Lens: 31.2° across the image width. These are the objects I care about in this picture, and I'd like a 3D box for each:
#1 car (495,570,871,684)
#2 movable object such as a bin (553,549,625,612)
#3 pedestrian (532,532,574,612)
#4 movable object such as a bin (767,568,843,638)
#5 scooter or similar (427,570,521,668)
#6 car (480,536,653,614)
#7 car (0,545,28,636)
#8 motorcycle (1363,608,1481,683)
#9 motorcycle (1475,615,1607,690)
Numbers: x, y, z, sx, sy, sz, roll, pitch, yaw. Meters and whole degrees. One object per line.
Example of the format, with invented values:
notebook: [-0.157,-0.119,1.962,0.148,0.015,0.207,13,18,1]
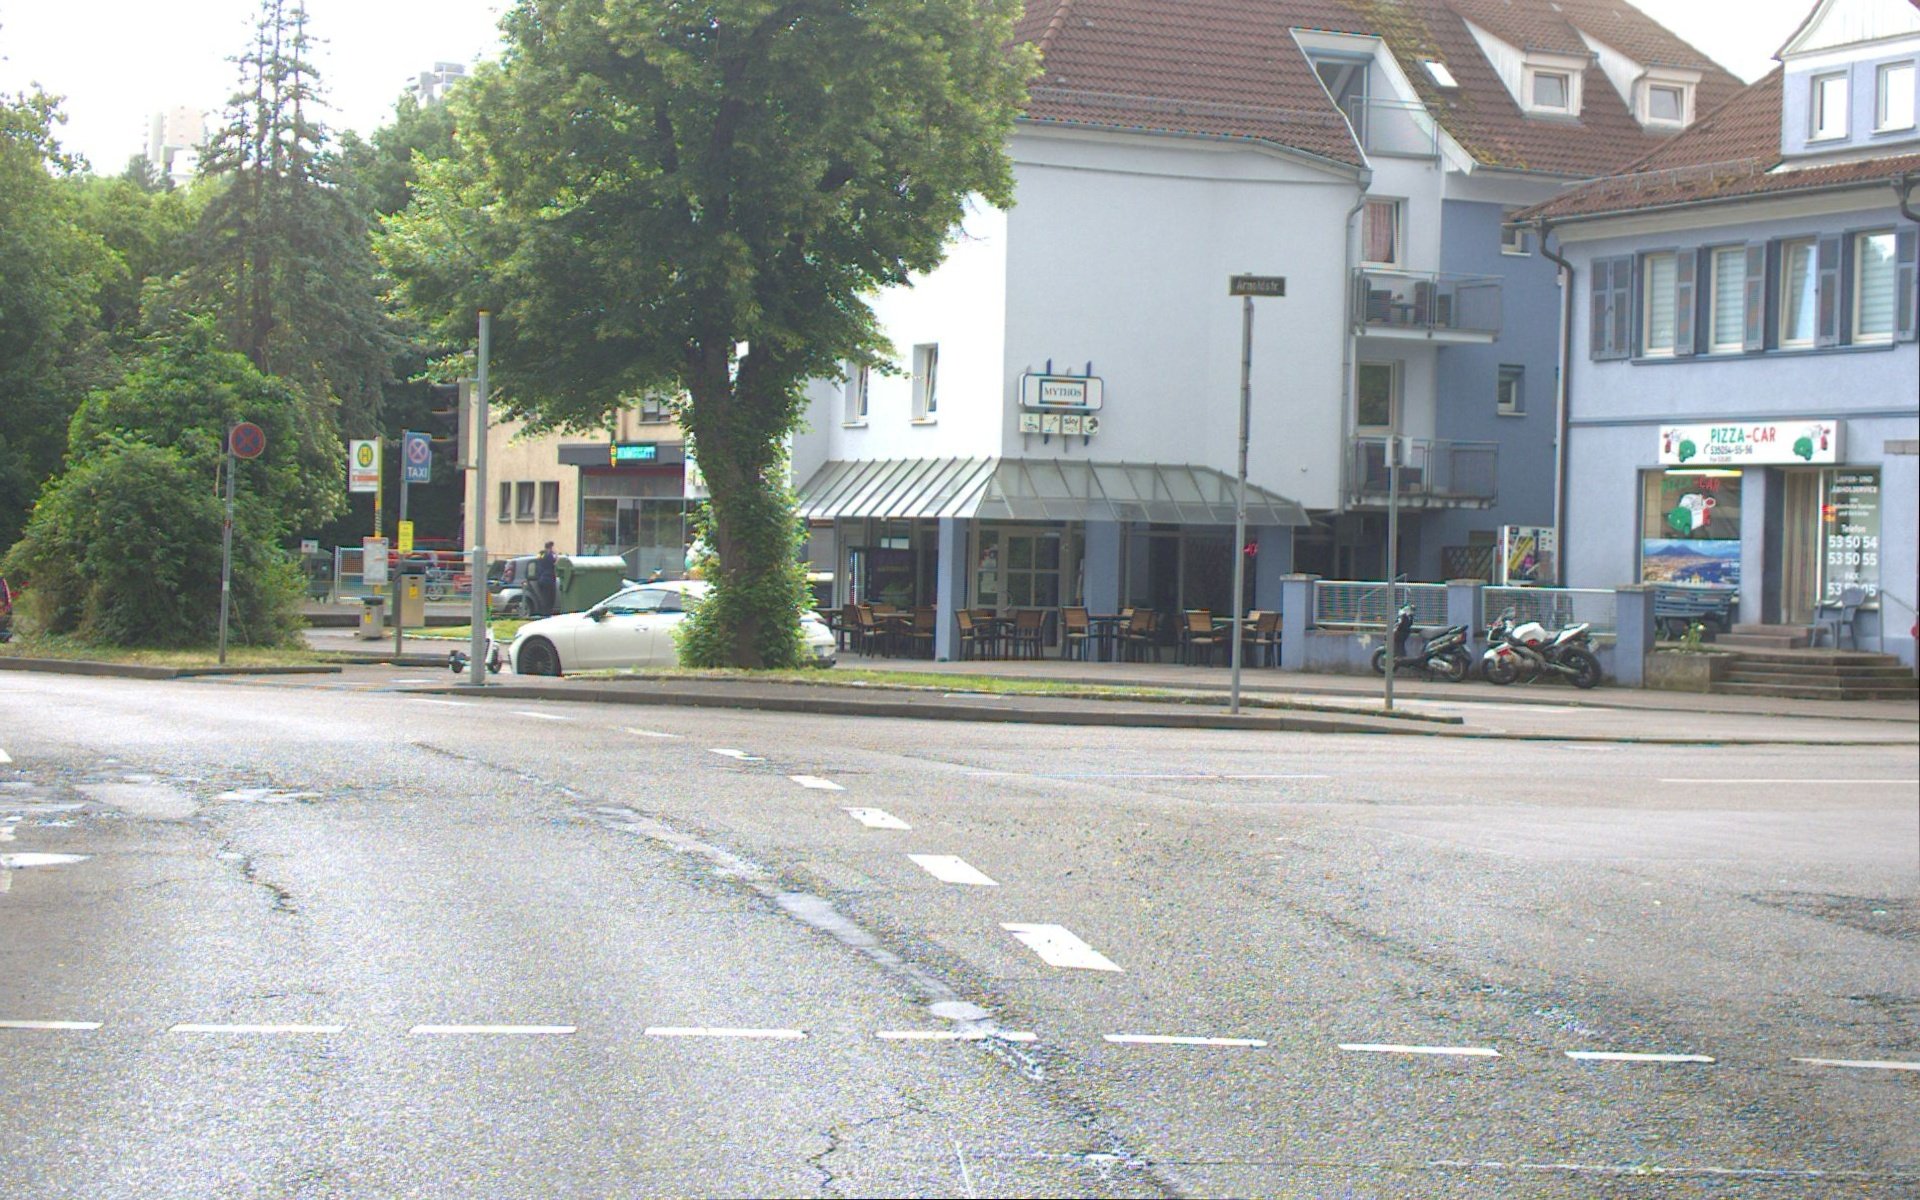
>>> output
car: [-3.715,0.327,45.785,4.782,1.382,1.996,1,1,34]
movable object such as a bin: [-7.978,-0.414,73.943,1.216,1.340,0.995,1,1,-31]
pedestrian: [-8.835,-0.617,74.627,0.687,1.723,0.611,1,0,-32]
movable object such as a bin: [-3.187,0.059,70.540,1.214,1.390,1.161,1,0,-22]
scooter or similar: [-6.030,0.243,42.728,0.412,1.163,1.360,2,-2,26]
car: [-8.678,-0.550,75.757,3.412,1.625,1.625,1,1,-25]
car: [-16.473,-0.210,53.789,3.489,1.399,1.571,3,1,28]
motorcycle: [6.728,0.657,50.085,1.724,1.028,0.488,2,1,43]
motorcycle: [8.157,0.731,48.349,1.822,0.982,0.520,2,1,43]
